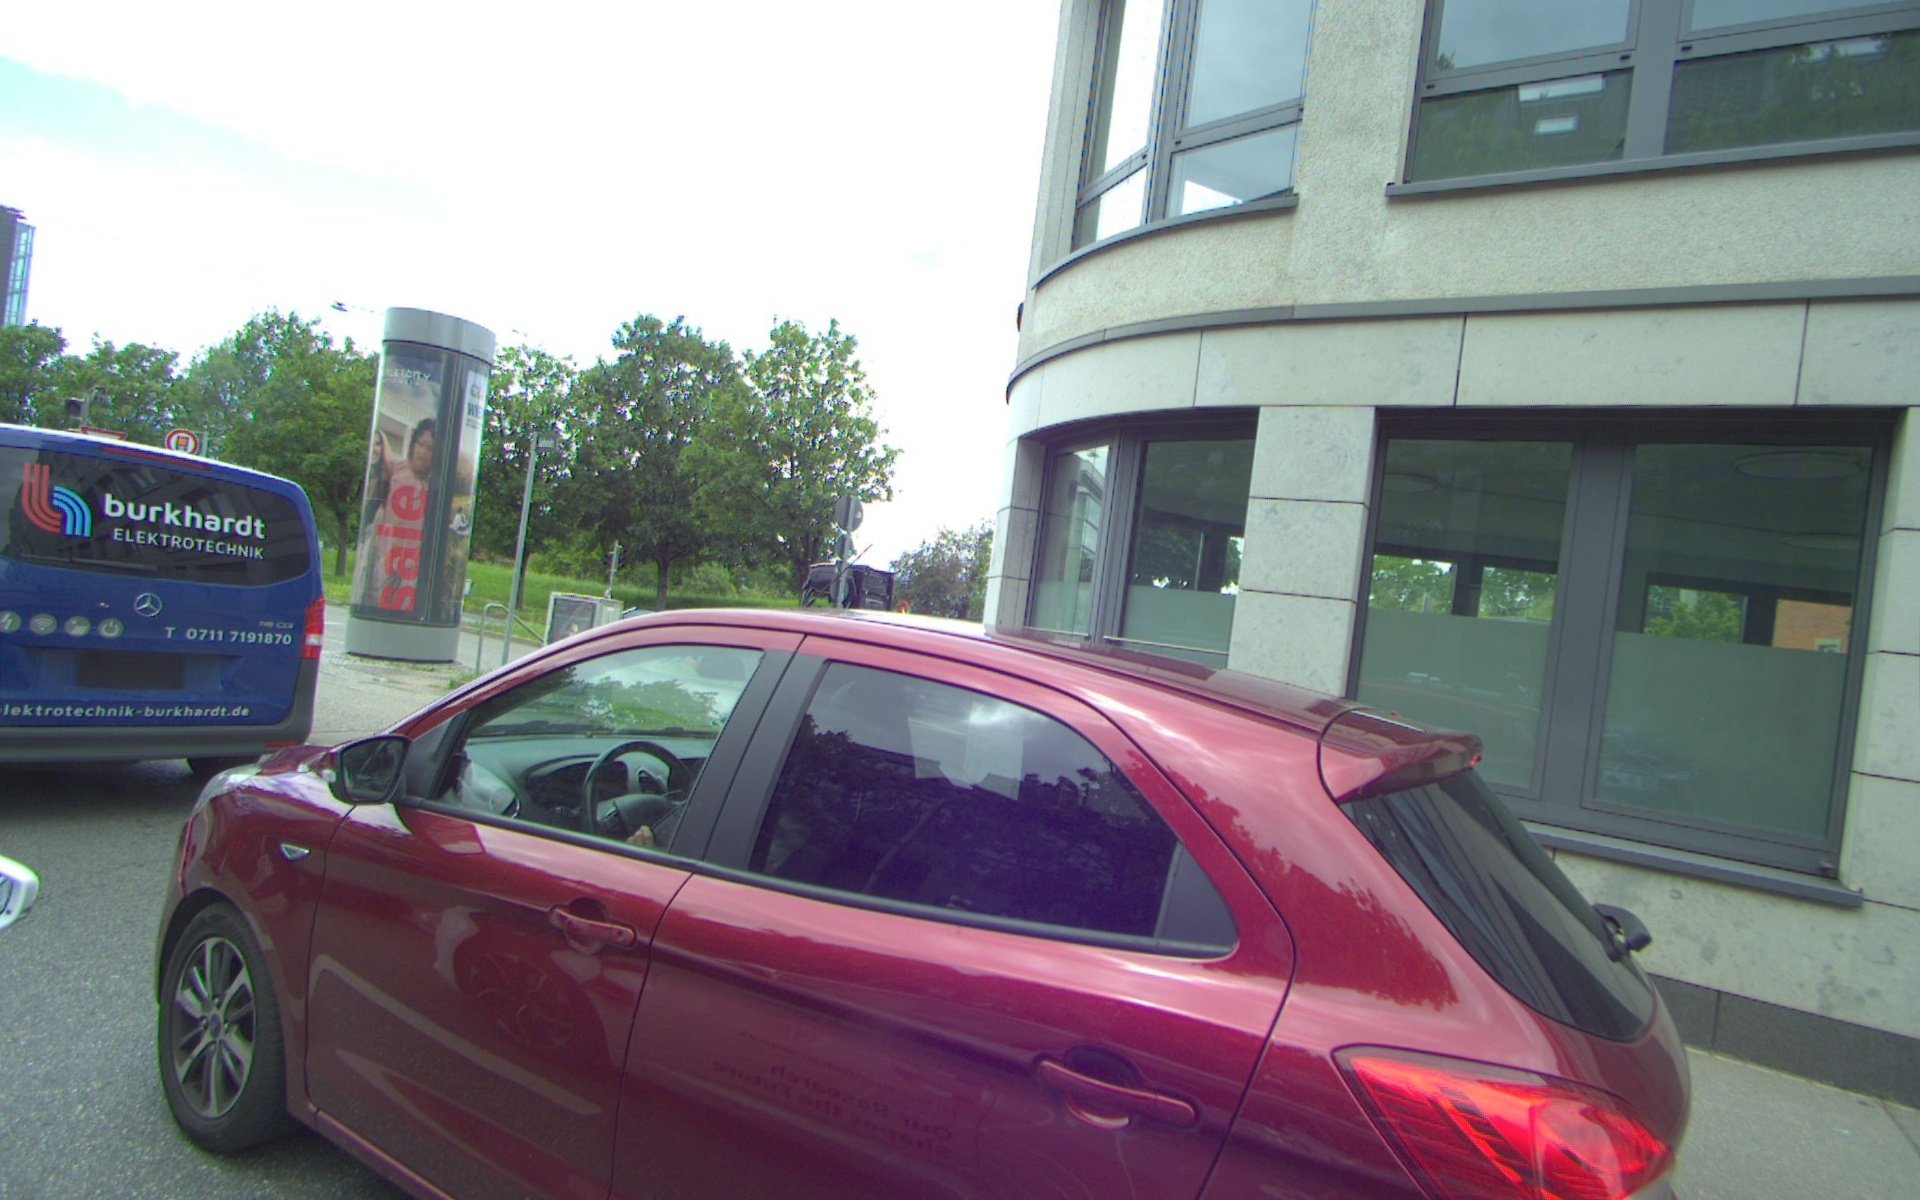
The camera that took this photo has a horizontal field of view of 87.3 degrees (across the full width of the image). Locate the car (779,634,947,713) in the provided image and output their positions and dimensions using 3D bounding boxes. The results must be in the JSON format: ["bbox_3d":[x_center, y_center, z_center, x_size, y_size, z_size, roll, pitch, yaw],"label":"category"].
[{"bbox_3d":[-2.599,2.005,27.363,3.925,1.469,2.003,8,-3,19],"label":"car"}]

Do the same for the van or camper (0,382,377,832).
[{"bbox_3d":[-5.920,-0.149,6.107,4.949,1.934,1.862,7,-1,32],"label":"van or camper"}]

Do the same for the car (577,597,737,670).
[{"bbox_3d":[-8.898,0.991,29.603,3.925,1.469,2.003,8,-3,19],"label":"car"}]

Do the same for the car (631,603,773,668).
[{"bbox_3d":[-8.507,1.181,33.231,3.925,1.469,2.003,8,-3,19],"label":"car"}]

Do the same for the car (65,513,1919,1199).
[{"bbox_3d":[-0.207,0.829,2.549,3.933,1.509,1.890,7,-3,32],"label":"car"}]

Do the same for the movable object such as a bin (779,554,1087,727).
[{"bbox_3d":[-0.798,1.148,30.195,8.410,3.949,2.870,7,-1,18],"label":"movable object such as a bin"}]

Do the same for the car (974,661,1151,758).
[{"bbox_3d":[2.618,2.722,25.343,3.925,1.723,2.003,8,-3,19],"label":"car"}]
